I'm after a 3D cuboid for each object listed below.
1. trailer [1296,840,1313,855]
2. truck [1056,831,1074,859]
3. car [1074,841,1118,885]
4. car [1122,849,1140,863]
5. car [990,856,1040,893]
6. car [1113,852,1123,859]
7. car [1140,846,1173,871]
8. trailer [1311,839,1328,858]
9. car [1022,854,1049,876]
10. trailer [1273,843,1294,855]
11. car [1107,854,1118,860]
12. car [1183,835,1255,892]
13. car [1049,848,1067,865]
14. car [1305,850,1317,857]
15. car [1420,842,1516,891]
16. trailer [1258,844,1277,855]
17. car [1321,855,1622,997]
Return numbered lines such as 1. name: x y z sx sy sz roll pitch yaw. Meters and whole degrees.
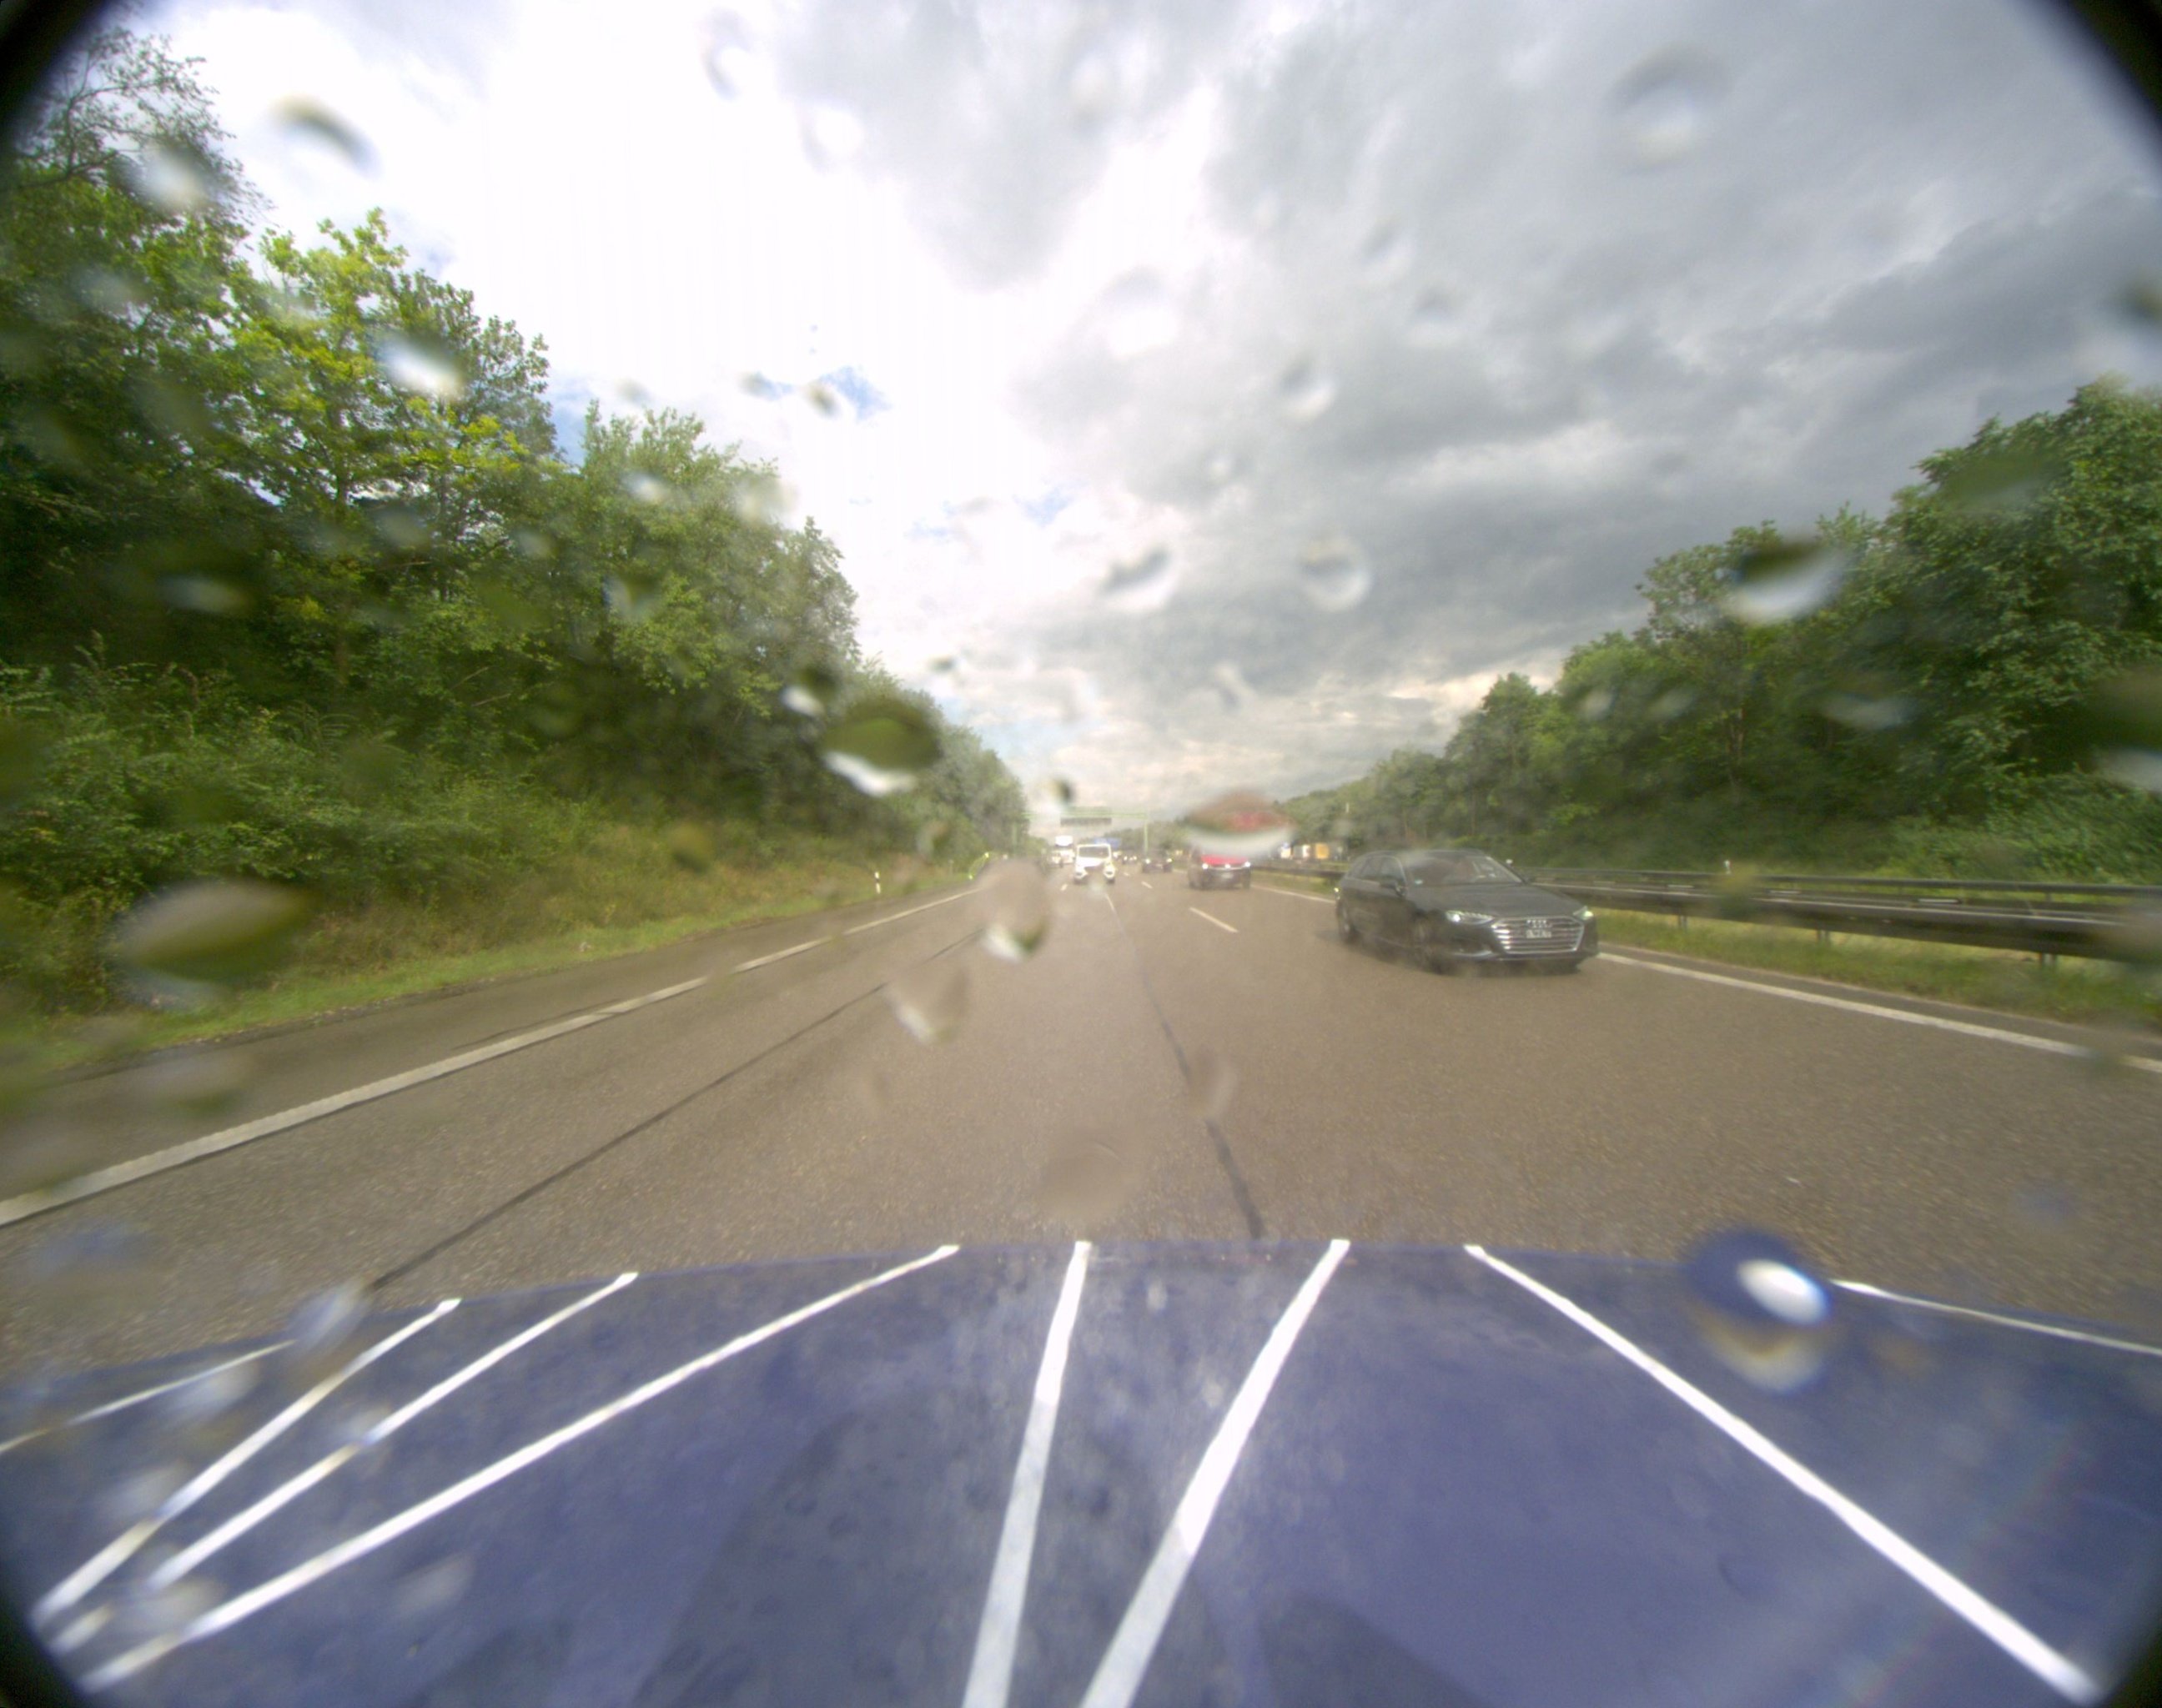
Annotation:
1. trailer: 53.173 -1.485 181.000 2.187 3.579 11.725 0 0 8
2. truck: -2.349 -1.308 114.620 2.460 4.080 5.332 -2 0 0
3. car: 0.697 0.411 37.778 1.985 1.973 5.168 -2 0 0
4. car: 6.037 0.229 91.570 1.895 1.558 4.053 -1 0 0
5. car: -2.814 0.852 33.353 1.759 1.388 4.367 -2 0 0
6. car: 6.926 0.281 142.217 1.675 1.228 3.999 -2 0 0
7. car: 5.417 0.304 54.903 1.895 1.660 4.294 -1 0 0
8. trailer: 47.583 -1.182 152.064 1.997 3.673 13.669 -2 1 12
9. car: -3.076 0.726 52.094 1.655 1.448 3.744 -1 0 -1
10. trailer: 56.971 -1.365 214.402 3.027 3.174 12.175 0 0 2
11. car: 6.595 0.580 159.592 1.888 1.228 4.506 -2 0 0
12. car: 5.328 0.346 30.008 1.895 1.973 4.750 -3 0 0
13. car: -2.584 0.297 85.518 1.831 1.793 5.305 -1 0 0
14. car: 51.456 -0.162 169.793 1.898 1.494 4.002 0 0 8
15. car: 17.581 0.512 34.810 1.998 2.002 4.732 -2 1 0
16. trailer: 57.011 -1.509 232.663 2.611 3.253 12.646 0 0 0
17. car: 4.794 0.761 10.192 1.723 1.403 4.467 -2 0 0
